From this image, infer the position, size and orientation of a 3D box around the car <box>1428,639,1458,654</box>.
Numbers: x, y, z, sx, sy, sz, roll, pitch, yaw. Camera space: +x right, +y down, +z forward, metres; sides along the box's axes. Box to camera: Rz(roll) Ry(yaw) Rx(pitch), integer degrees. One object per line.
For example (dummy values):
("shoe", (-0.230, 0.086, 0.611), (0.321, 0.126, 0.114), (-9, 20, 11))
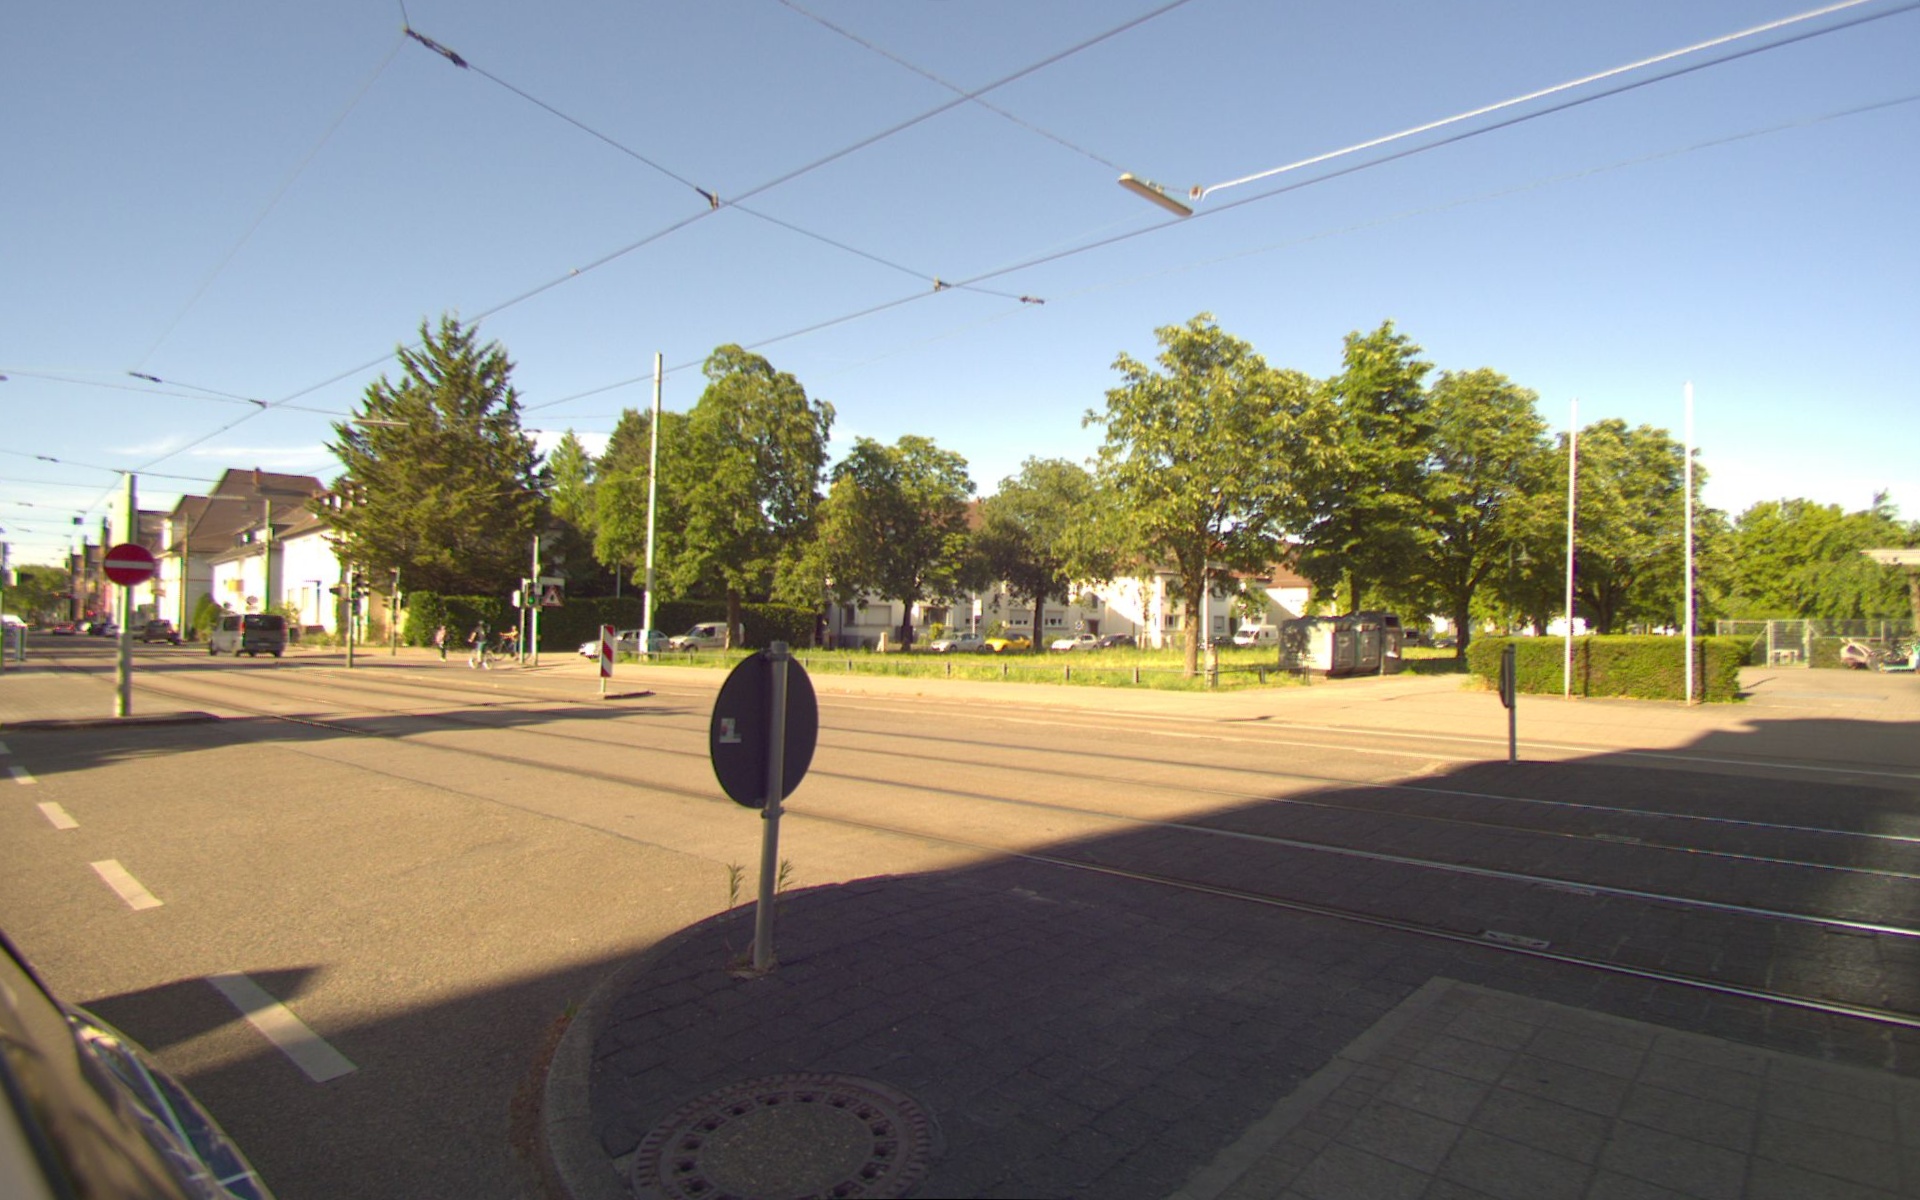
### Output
("car", (58.173, 5.547, 121.867), (3.827, 1.756, 1.819), (2, -3, -42))

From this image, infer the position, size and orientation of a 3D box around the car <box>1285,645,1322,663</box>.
("car", (34.295, 5.324, 100.977), (3.827, 1.756, 1.819), (2, -3, -42))

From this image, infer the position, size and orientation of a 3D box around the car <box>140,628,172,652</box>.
("car", (-68.648, 3.424, 86.373), (1.896, 1.915, 4.005), (0, -1, -41))

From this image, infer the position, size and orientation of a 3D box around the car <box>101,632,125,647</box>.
("car", (-93.826, 4.327, 112.049), (1.896, 1.576, 4.005), (0, -1, -42))

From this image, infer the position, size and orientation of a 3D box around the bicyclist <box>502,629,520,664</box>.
("bicyclist", (-21.184, 2.191, 47.712), (0.550, 1.635, 0.900), (2, -3, -36))

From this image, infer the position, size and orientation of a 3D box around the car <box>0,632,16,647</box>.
("car", (-119.522, 4.936, 126.612), (1.896, 1.728, 4.005), (0, -1, -42))

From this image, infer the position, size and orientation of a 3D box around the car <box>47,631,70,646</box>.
("car", (-106.542, 4.585, 119.665), (1.895, 1.728, 4.006), (0, -1, -40))

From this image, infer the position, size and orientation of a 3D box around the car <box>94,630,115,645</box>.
("car", (-103.712, 4.540, 122.647), (1.895, 1.728, 4.005), (-1, -1, -41))

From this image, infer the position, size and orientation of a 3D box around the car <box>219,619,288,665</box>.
("car", (-33.277, 2.023, 47.611), (1.995, 2.029, 5.257), (4, -5, -41))

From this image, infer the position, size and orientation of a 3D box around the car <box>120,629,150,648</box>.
("car", (-78.892, 3.650, 96.771), (1.896, 1.728, 4.004), (0, -1, -43))

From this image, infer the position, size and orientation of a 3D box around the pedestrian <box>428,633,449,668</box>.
("pedestrian", (-23.826, 2.298, 46.208), (0.615, 1.568, 0.679), (-1, -1, -3))

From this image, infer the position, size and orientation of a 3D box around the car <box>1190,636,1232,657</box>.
("car", (22.210, 4.095, 89.460), (3.827, 1.756, 1.819), (2, -3, -42))

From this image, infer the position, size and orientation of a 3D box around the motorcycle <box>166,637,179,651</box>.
("motorcycle", (-58.621, 3.277, 75.300), (0.597, 1.054, 2.440), (0, -1, -42))

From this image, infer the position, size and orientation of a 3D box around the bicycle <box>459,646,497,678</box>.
("bicycle", (-17.398, 2.214, 36.503), (1.827, 1.122, 0.580), (-2, -4, 43))

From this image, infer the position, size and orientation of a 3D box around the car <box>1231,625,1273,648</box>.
("car", (27.005, 3.358, 93.506), (4.119, 2.110, 1.819), (2, -3, -42))

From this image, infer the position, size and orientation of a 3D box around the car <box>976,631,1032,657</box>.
("car", (3.191, 3.142, 72.310), (3.827, 1.756, 1.819), (2, -3, -42))

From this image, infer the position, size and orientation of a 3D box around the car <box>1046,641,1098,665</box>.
("car", (8.554, 4.027, 77.194), (3.827, 1.756, 1.819), (2, -3, -42))

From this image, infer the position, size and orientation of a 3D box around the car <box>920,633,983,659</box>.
("car", (-0.555, 3.126, 69.174), (4.137, 1.756, 1.819), (2, -3, -42))

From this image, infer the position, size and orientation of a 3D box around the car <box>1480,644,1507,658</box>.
("car", (69.548, 6.671, 131.891), (3.827, 1.756, 1.819), (2, -3, -42))

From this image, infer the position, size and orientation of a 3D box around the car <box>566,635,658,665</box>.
("car", (-17.329, 2.465, 50.467), (3.936, 1.444, 1.820), (2, -3, -39))

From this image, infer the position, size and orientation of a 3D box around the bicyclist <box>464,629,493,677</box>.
("bicyclist", (-17.349, 1.906, 36.469), (0.901, 1.724, 0.580), (-2, -5, 43))

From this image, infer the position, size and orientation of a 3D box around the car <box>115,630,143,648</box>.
("car", (-83.081, 3.896, 101.175), (1.897, 1.728, 4.003), (0, -1, -44))

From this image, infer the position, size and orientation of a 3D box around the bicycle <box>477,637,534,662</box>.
("bicycle", (-21.361, 2.318, 47.585), (2.249, 1.126, 0.932), (2, -3, -37))

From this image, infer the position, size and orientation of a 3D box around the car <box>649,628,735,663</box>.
("car", (-14.847, 2.514, 56.224), (4.249, 1.881, 1.819), (2, -2, -42))

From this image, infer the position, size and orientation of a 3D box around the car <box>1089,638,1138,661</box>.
("car", (12.214, 3.936, 80.520), (3.827, 1.756, 1.819), (2, -3, -42))
